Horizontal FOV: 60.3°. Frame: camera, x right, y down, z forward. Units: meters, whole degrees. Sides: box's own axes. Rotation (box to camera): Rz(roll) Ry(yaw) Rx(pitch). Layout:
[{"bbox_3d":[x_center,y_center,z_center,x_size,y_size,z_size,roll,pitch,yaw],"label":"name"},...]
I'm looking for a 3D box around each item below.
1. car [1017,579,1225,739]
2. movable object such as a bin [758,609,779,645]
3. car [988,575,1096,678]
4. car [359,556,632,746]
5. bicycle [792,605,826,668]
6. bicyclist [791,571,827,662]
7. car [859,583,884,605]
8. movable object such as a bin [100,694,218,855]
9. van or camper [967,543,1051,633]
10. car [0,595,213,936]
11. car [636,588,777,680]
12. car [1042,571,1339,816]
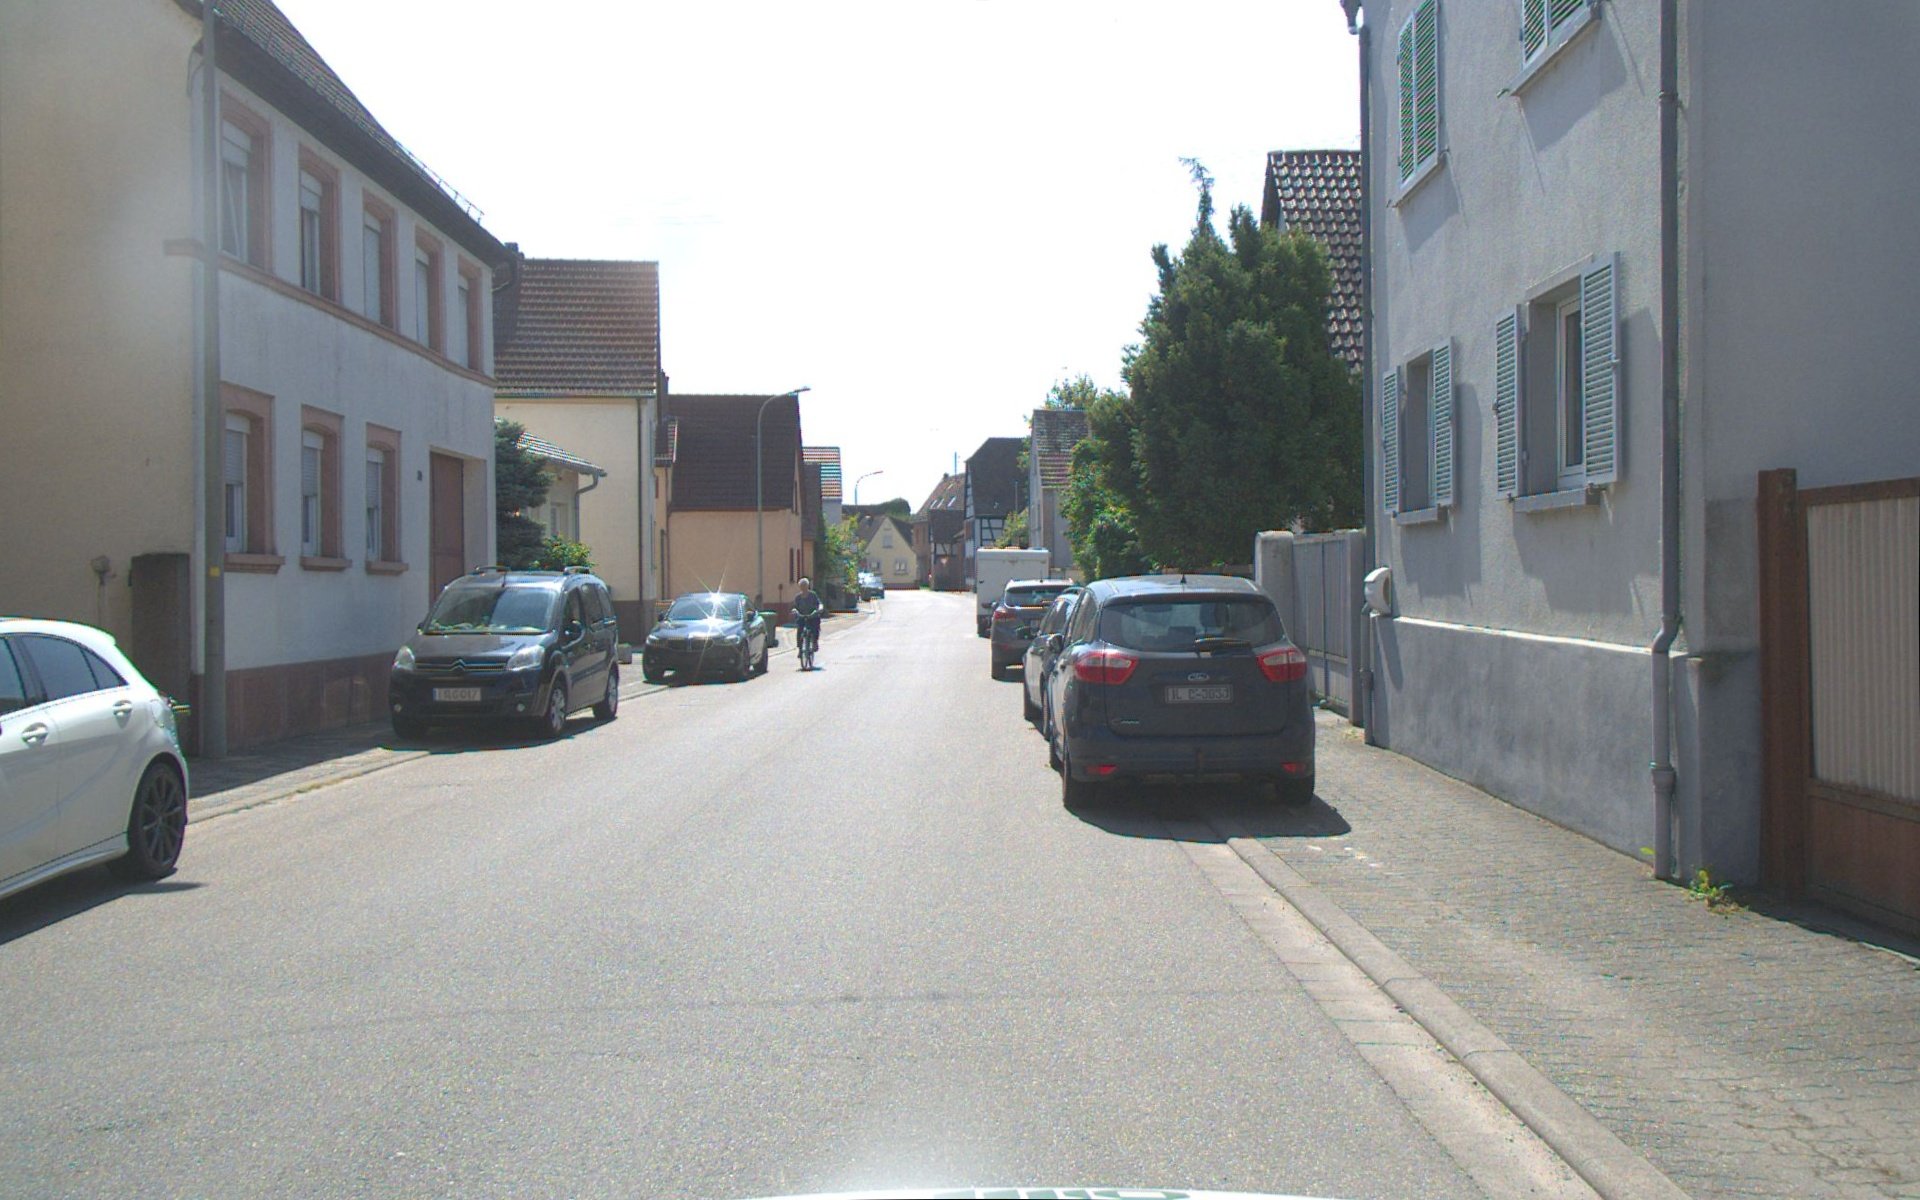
[{"bbox_3d":[1.656,0.560,18.482,1.782,1.535,4.581,-1,0,-1],"label":"car"},{"bbox_3d":[-5.297,0.744,45.822,0.528,0.966,0.553,0,0,0],"label":"movable object such as a bin"},{"bbox_3d":[1.489,0.401,29.567,1.756,1.659,4.363,-1,1,3],"label":"car"},{"bbox_3d":[-5.138,0.493,18.935,1.797,1.869,4.354,-1,1,1],"label":"car"},{"bbox_3d":[-2.994,0.704,32.979,0.577,1.168,1.947,-2,1,-3],"label":"bicycle"},{"bbox_3d":[-3.022,0.318,33.146,0.690,1.802,0.624,-1,0,-4],"label":"bicyclist"},{"bbox_3d":[-6.198,-0.427,116.086,1.481,1.461,3.511,-2,1,0],"label":"car"},{"bbox_3d":[-4.894,1.051,10.112,0.416,0.920,0.496,0,0,18],"label":"movable object such as a bin"},{"bbox_3d":[1.532,-0.386,53.566,2.470,2.744,4.554,-1,0,-1],"label":"van or camper"},{"bbox_3d":[-5.160,0.760,7.457,1.798,1.489,4.268,-1,1,-3],"label":"car"},{"bbox_3d":[-4.617,0.569,30.781,1.806,1.553,4.766,0,0,1],"label":"car"},{"bbox_3d":[1.627,0.594,13.171,1.760,1.587,4.632,-1,0,1],"label":"car"}]
